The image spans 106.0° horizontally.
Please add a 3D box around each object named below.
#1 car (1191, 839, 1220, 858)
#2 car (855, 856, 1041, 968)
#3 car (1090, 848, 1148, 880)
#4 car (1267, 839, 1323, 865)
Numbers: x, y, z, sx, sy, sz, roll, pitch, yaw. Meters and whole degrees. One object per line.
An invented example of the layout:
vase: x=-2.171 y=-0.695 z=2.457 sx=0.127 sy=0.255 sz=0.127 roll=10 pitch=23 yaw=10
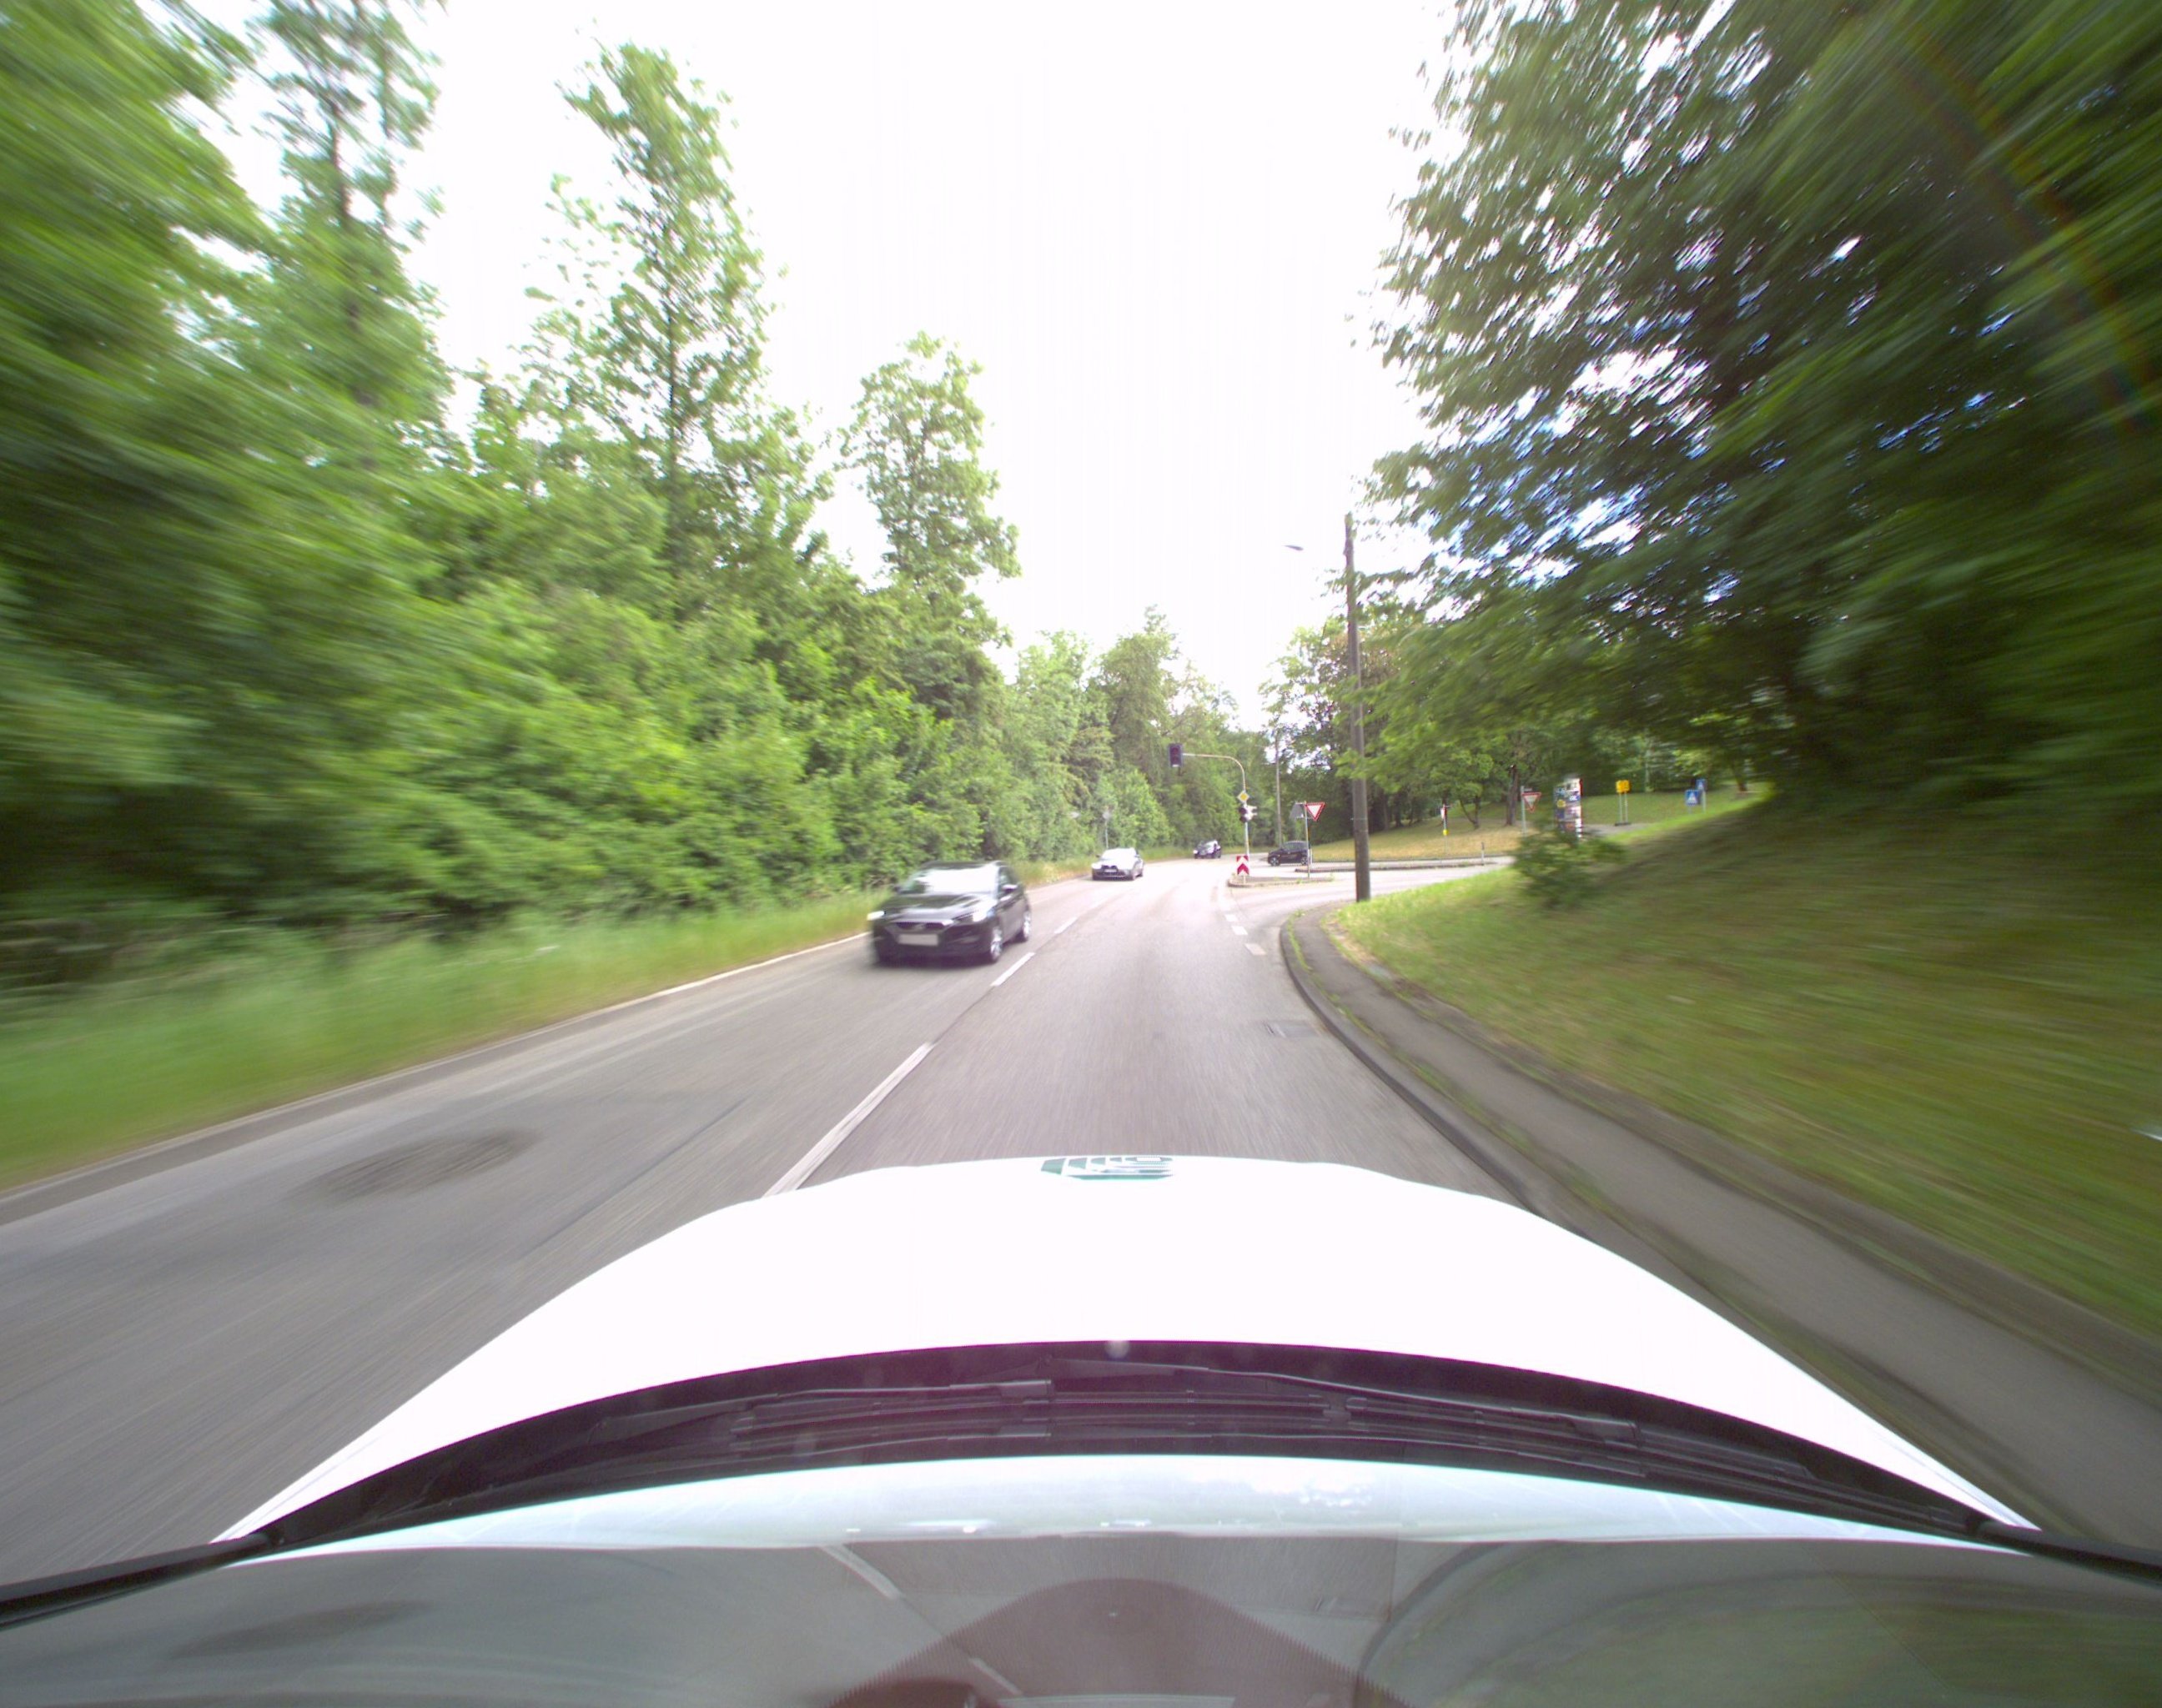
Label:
car: x=10.884 y=-0.489 z=70.781 sx=1.775 sy=1.514 sz=4.864 roll=-2 pitch=0 yaw=17
car: x=-1.877 y=0.776 z=13.090 sx=1.794 sy=1.434 sz=4.667 roll=0 pitch=0 yaw=6
car: x=1.852 y=0.424 z=38.060 sx=1.885 sy=1.354 sz=4.859 roll=1 pitch=0 yaw=12
car: x=13.399 y=-0.123 z=50.967 sx=3.279 sy=1.494 sz=1.675 roll=-2 pitch=1 yaw=15
